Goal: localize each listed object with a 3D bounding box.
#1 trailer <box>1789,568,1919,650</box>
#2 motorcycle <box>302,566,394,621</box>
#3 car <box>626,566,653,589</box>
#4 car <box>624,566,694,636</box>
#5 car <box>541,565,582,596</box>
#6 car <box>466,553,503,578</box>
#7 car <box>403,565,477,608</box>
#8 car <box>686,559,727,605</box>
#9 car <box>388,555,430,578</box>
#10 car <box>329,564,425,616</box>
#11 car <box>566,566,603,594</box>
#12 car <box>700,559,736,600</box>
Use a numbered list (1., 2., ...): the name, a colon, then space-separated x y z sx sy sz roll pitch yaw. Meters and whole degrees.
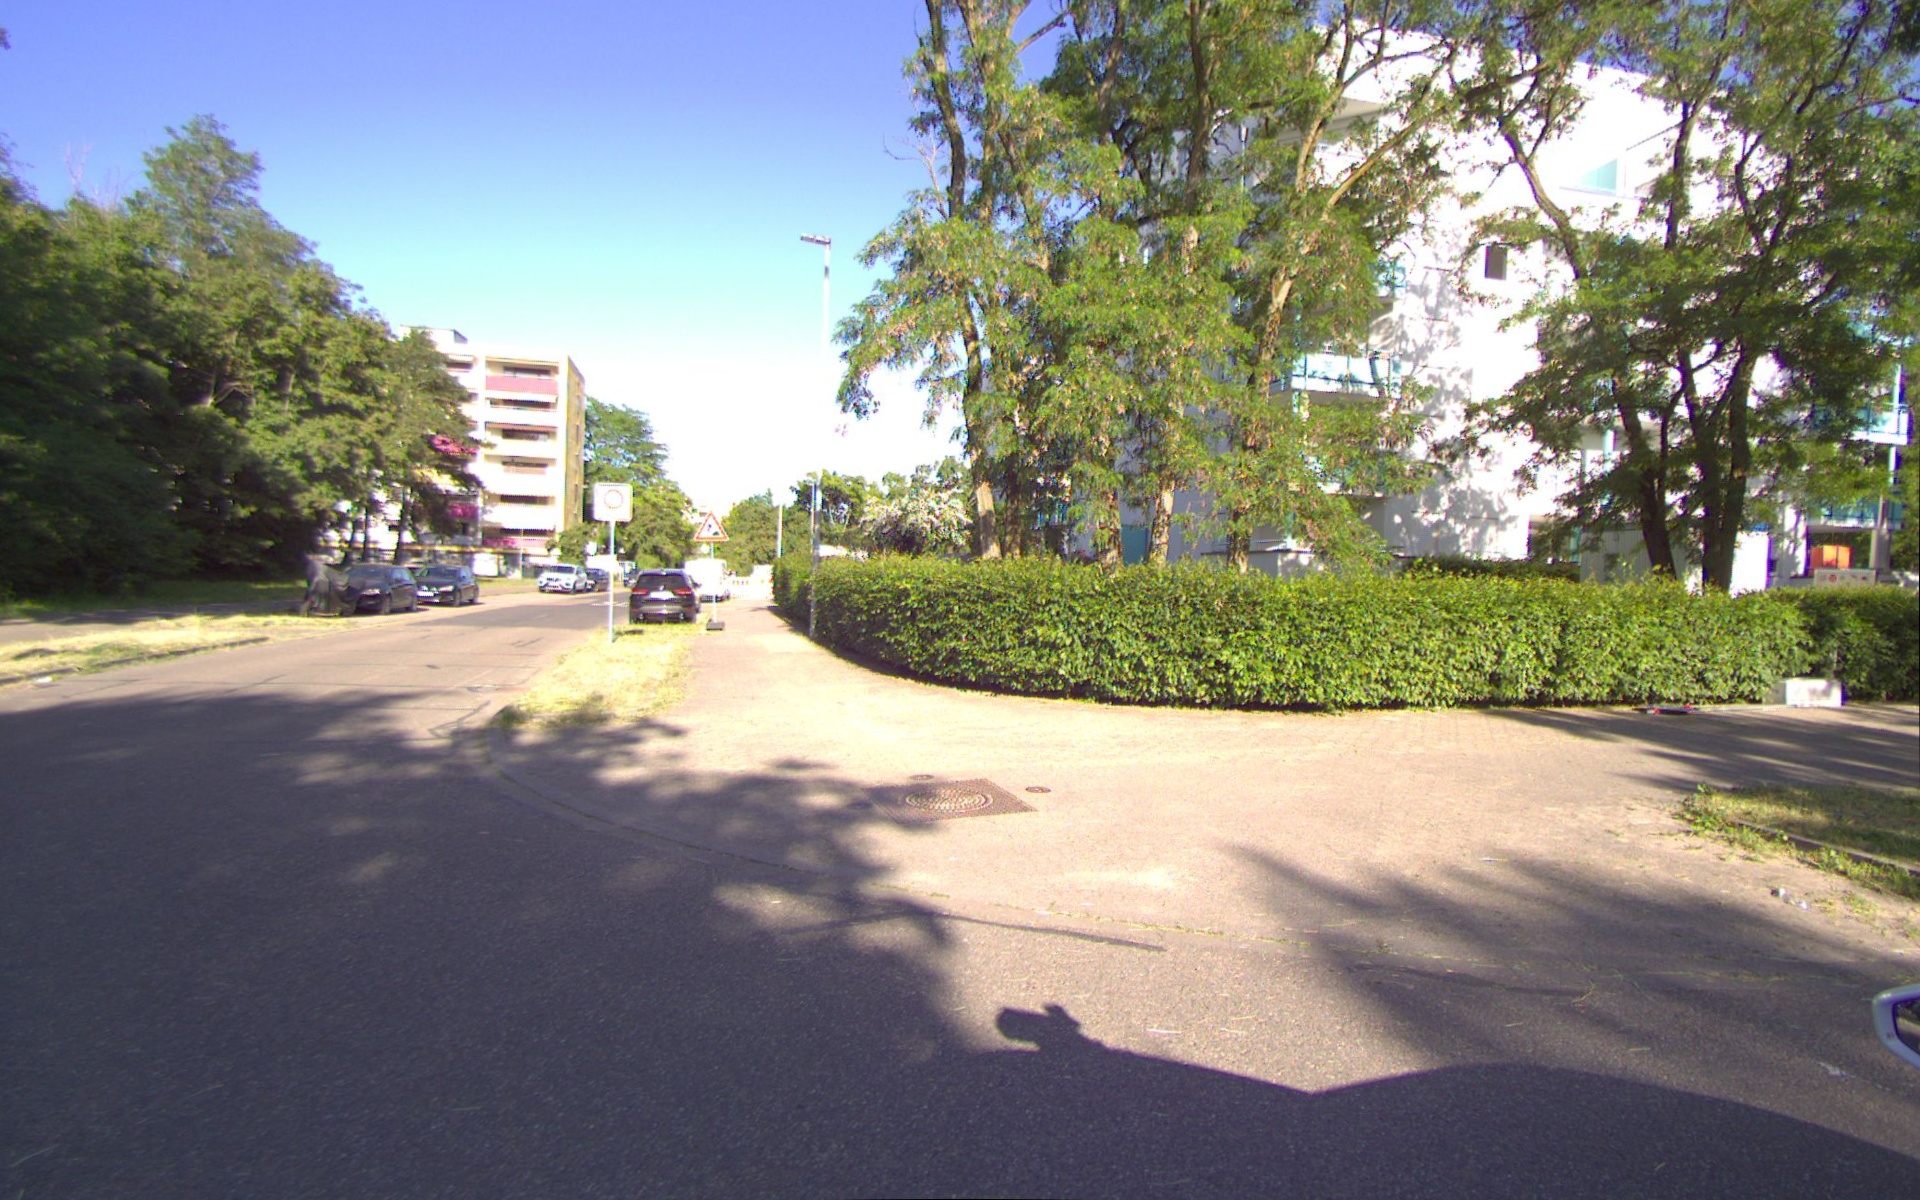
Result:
1. trailer: 25.214 0.242 27.185 4.353 2.070 1.978 1 1 -12
2. motorcycle: -15.885 -0.162 26.101 0.666 1.362 1.949 3 2 44
3. car: -23.832 -1.713 74.746 1.618 1.578 3.824 1 2 -15
4. car: -8.542 -0.026 28.699 1.727 1.809 3.824 1 2 -15
5. car: -21.752 -1.089 54.959 1.618 1.578 3.824 1 2 -15
6. car: -35.111 -2.561 74.251 1.733 1.767 3.824 1 2 -15
7. car: -18.469 -0.517 35.806 1.533 1.410 3.577 1 2 -15
8. car: -12.385 -0.904 49.041 1.797 2.088 3.824 1 2 -15
9. car: -39.958 -2.443 72.882 1.770 1.548 3.824 1 2 -15
10. car: -17.214 -0.340 29.802 1.533 1.410 3.577 1 2 -15
11. car: -22.591 -1.221 60.538 1.618 1.578 3.824 1 2 -15
12. car: -13.079 -1.126 54.178 1.797 2.088 3.824 1 2 -15
